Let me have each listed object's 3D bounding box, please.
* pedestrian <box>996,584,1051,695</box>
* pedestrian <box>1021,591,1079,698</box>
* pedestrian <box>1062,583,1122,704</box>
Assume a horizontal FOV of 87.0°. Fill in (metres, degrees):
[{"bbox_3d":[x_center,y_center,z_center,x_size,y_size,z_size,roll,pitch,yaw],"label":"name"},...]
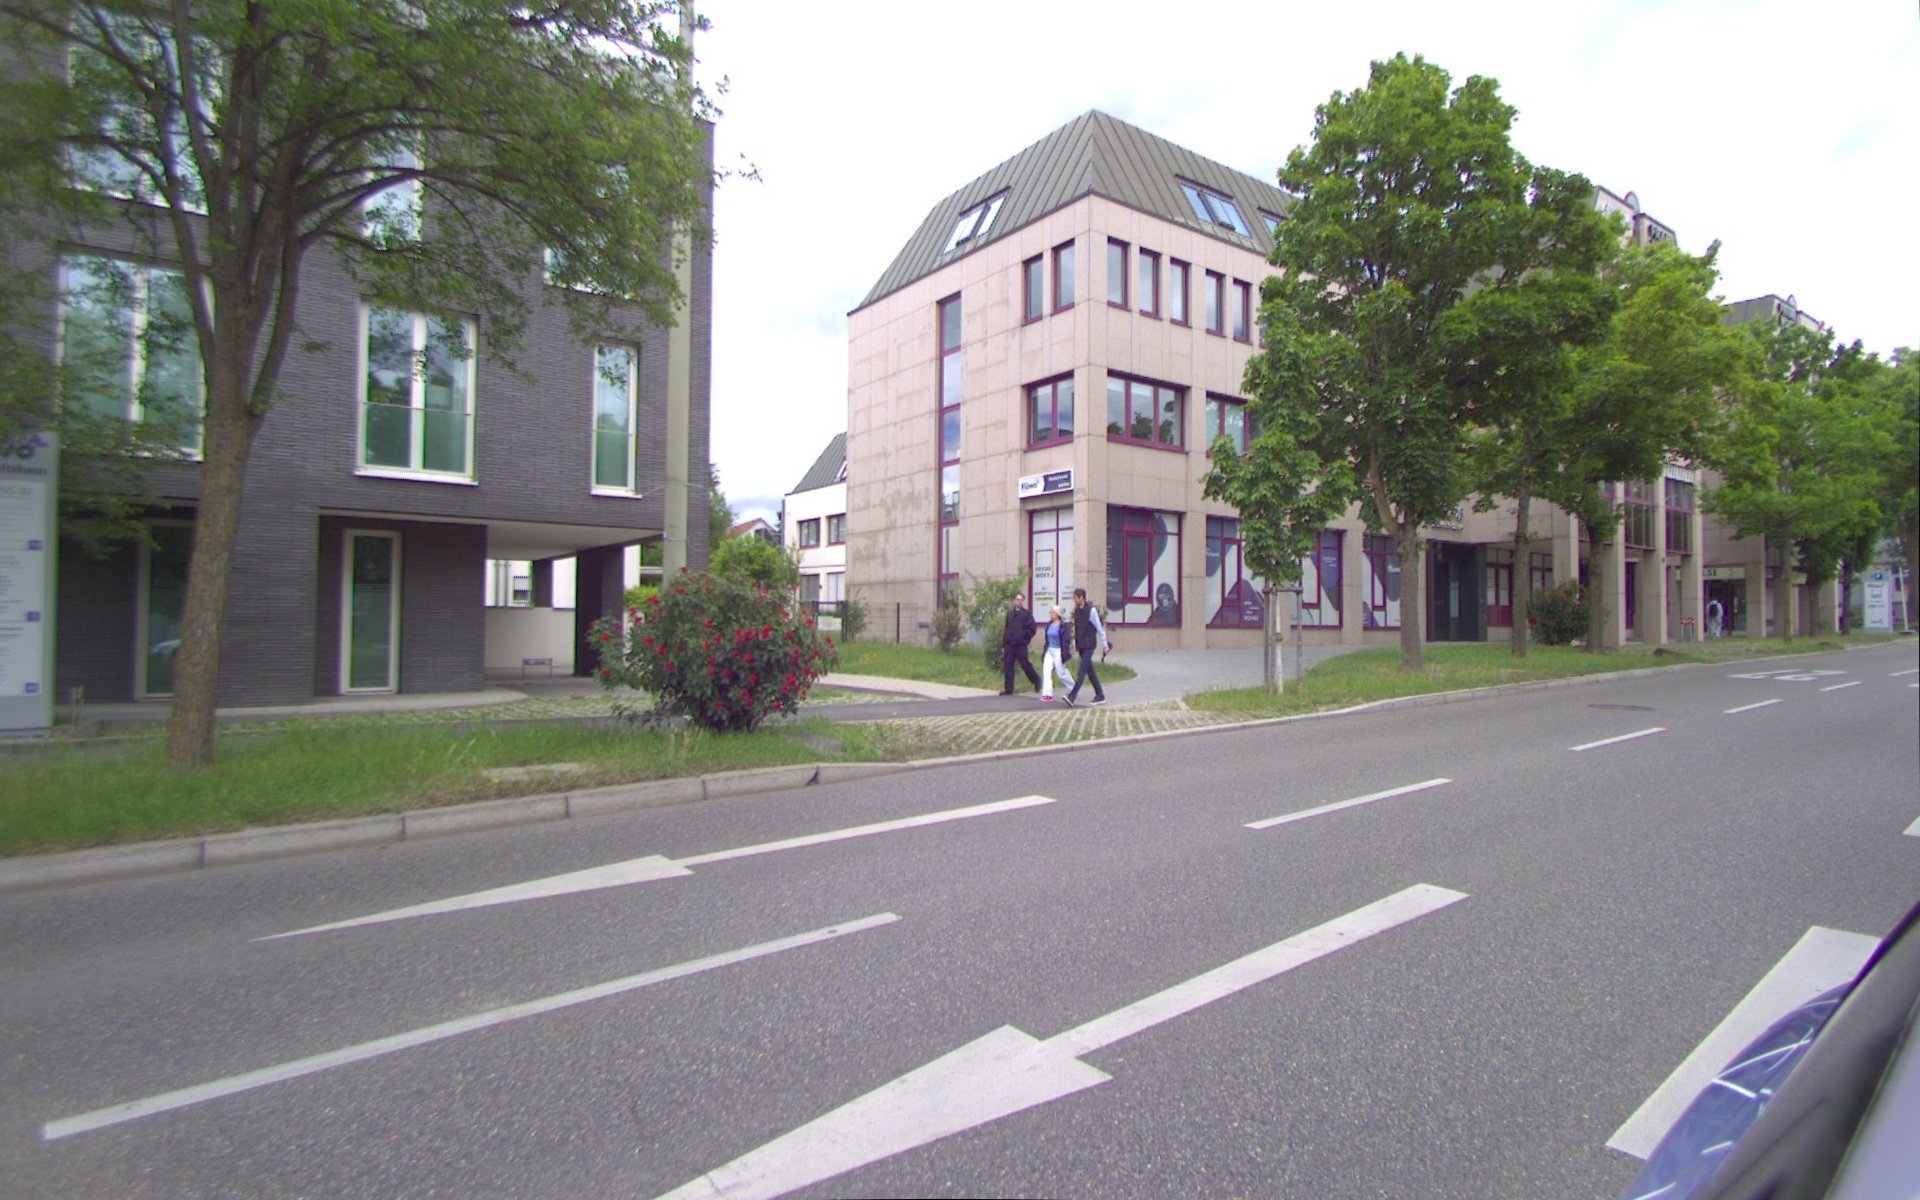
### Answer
[{"bbox_3d":[1.067,0.644,17.118,0.665,1.828,0.642,0,-1,-40],"label":"pedestrian"},{"bbox_3d":[1.449,0.697,16.308,0.665,1.668,0.642,0,-1,-40],"label":"pedestrian"},{"bbox_3d":[2.051,0.653,15.773,0.665,1.828,0.642,0,-1,-40],"label":"pedestrian"}]
